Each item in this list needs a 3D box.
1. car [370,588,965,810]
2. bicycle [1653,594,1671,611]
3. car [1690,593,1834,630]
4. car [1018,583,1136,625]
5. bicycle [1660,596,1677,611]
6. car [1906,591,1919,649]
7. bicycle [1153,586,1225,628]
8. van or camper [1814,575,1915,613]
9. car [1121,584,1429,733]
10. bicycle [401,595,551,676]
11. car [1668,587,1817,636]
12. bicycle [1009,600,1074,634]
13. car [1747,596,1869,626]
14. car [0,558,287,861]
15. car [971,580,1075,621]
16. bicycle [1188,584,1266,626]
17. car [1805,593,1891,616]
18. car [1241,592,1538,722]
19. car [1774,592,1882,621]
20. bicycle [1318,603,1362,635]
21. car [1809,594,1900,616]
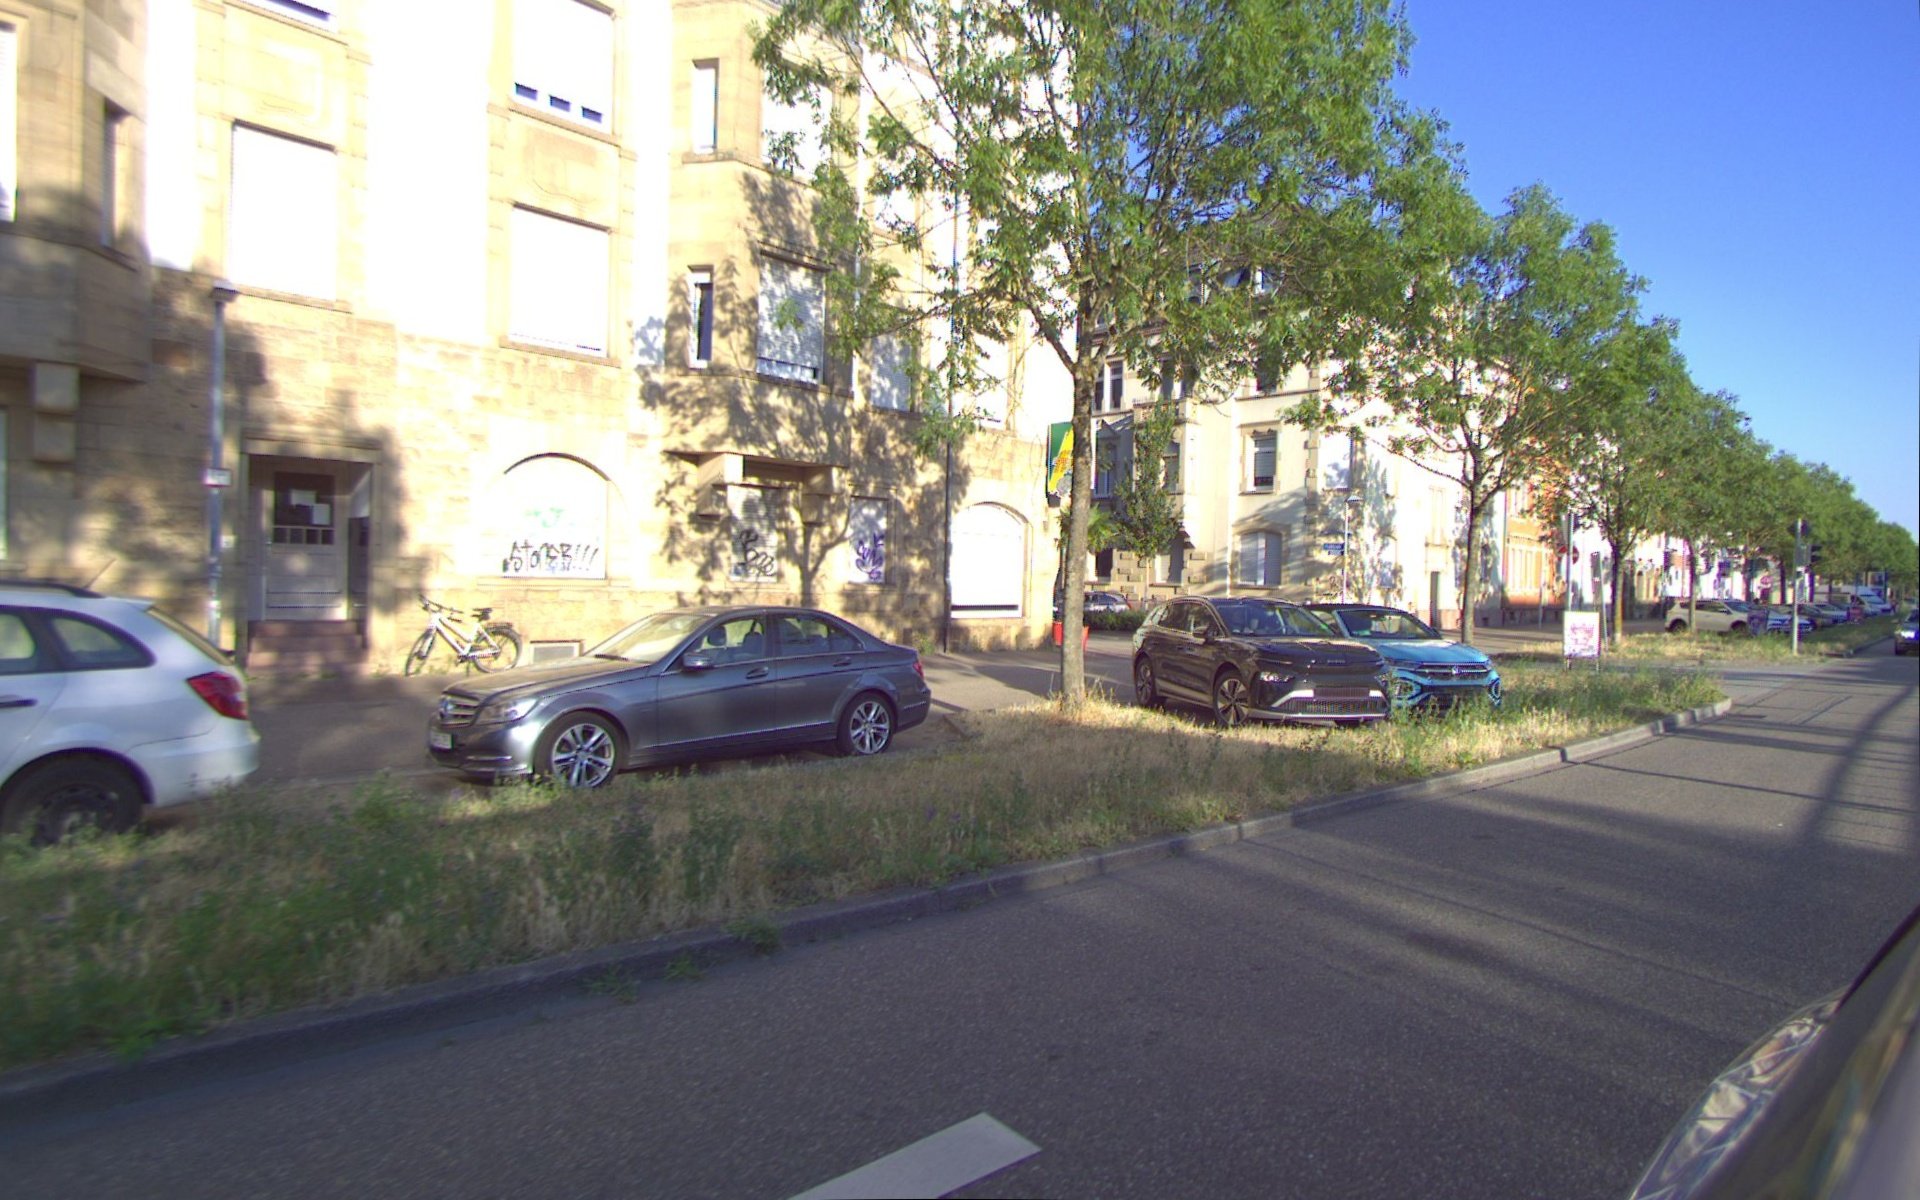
[{"bbox_3d":[-2.339,0.665,9.104,4.828,1.463,1.946,0,-1,-45],"label":"car"},{"bbox_3d":[47.571,0.175,68.573,2.192,1.092,0.588,0,3,-45],"label":"bicycle"},{"bbox_3d":[34.091,0.461,43.187,1.988,1.417,4.565,0,1,-13],"label":"car"},{"bbox_3d":[4.488,0.156,39.101,4.113,1.511,1.872,1,1,-13],"label":"car"},{"bbox_3d":[49.051,0.217,70.057,1.896,1.003,0.579,0,1,-45],"label":"bicycle"},{"bbox_3d":[30.224,0.605,30.737,3.935,1.685,1.995,0,2,-45],"label":"car"},{"bbox_3d":[7.801,0.209,34.571,2.349,1.336,0.719,2,1,43],"label":"bicycle"},{"bbox_3d":[70.712,-0.552,79.262,2.158,2.847,5.663,1,1,-12],"label":"van or camper"},{"bbox_3d":[3.791,0.648,13.116,1.960,1.591,4.349,1,-1,-11],"label":"car"},{"bbox_3d":[-6.965,0.481,14.639,1.865,1.086,0.573,0,2,-44],"label":"bicycle"},{"bbox_3d":[29.957,0.396,38.940,1.876,1.712,4.440,1,1,-9],"label":"car"},{"bbox_3d":[2.422,0.510,29.934,1.846,0.959,0.631,1,0,-29],"label":"bicycle"},{"bbox_3d":[43.239,0.531,51.770,1.857,1.365,4.592,1,1,-11],"label":"car"},{"bbox_3d":[-6.076,0.570,5.137,4.202,1.531,1.726,0,-1,-45],"label":"car"},{"bbox_3d":[2.556,0.003,41.251,3.793,1.596,1.872,1,1,-23],"label":"car"},{"bbox_3d":[9.547,0.161,36.280,2.664,1.401,0.719,2,1,43],"label":"bicycle"},{"bbox_3d":[59.556,0.274,67.979,1.691,1.455,4.061,0,1,-16],"label":"car"},{"bbox_3d":[5.922,0.689,14.626,1.808,1.541,4.296,1,1,-11],"label":"car"},{"bbox_3d":[50.190,0.365,58.671,1.809,1.529,4.654,1,1,-9],"label":"car"},{"bbox_3d":[12.000,0.581,31.922,1.853,0.882,0.461,-1,8,-44],"label":"bicycle"},{"bbox_3d":[61.762,0.307,69.960,1.882,1.441,4.444,1,0,-12],"label":"car"}]
